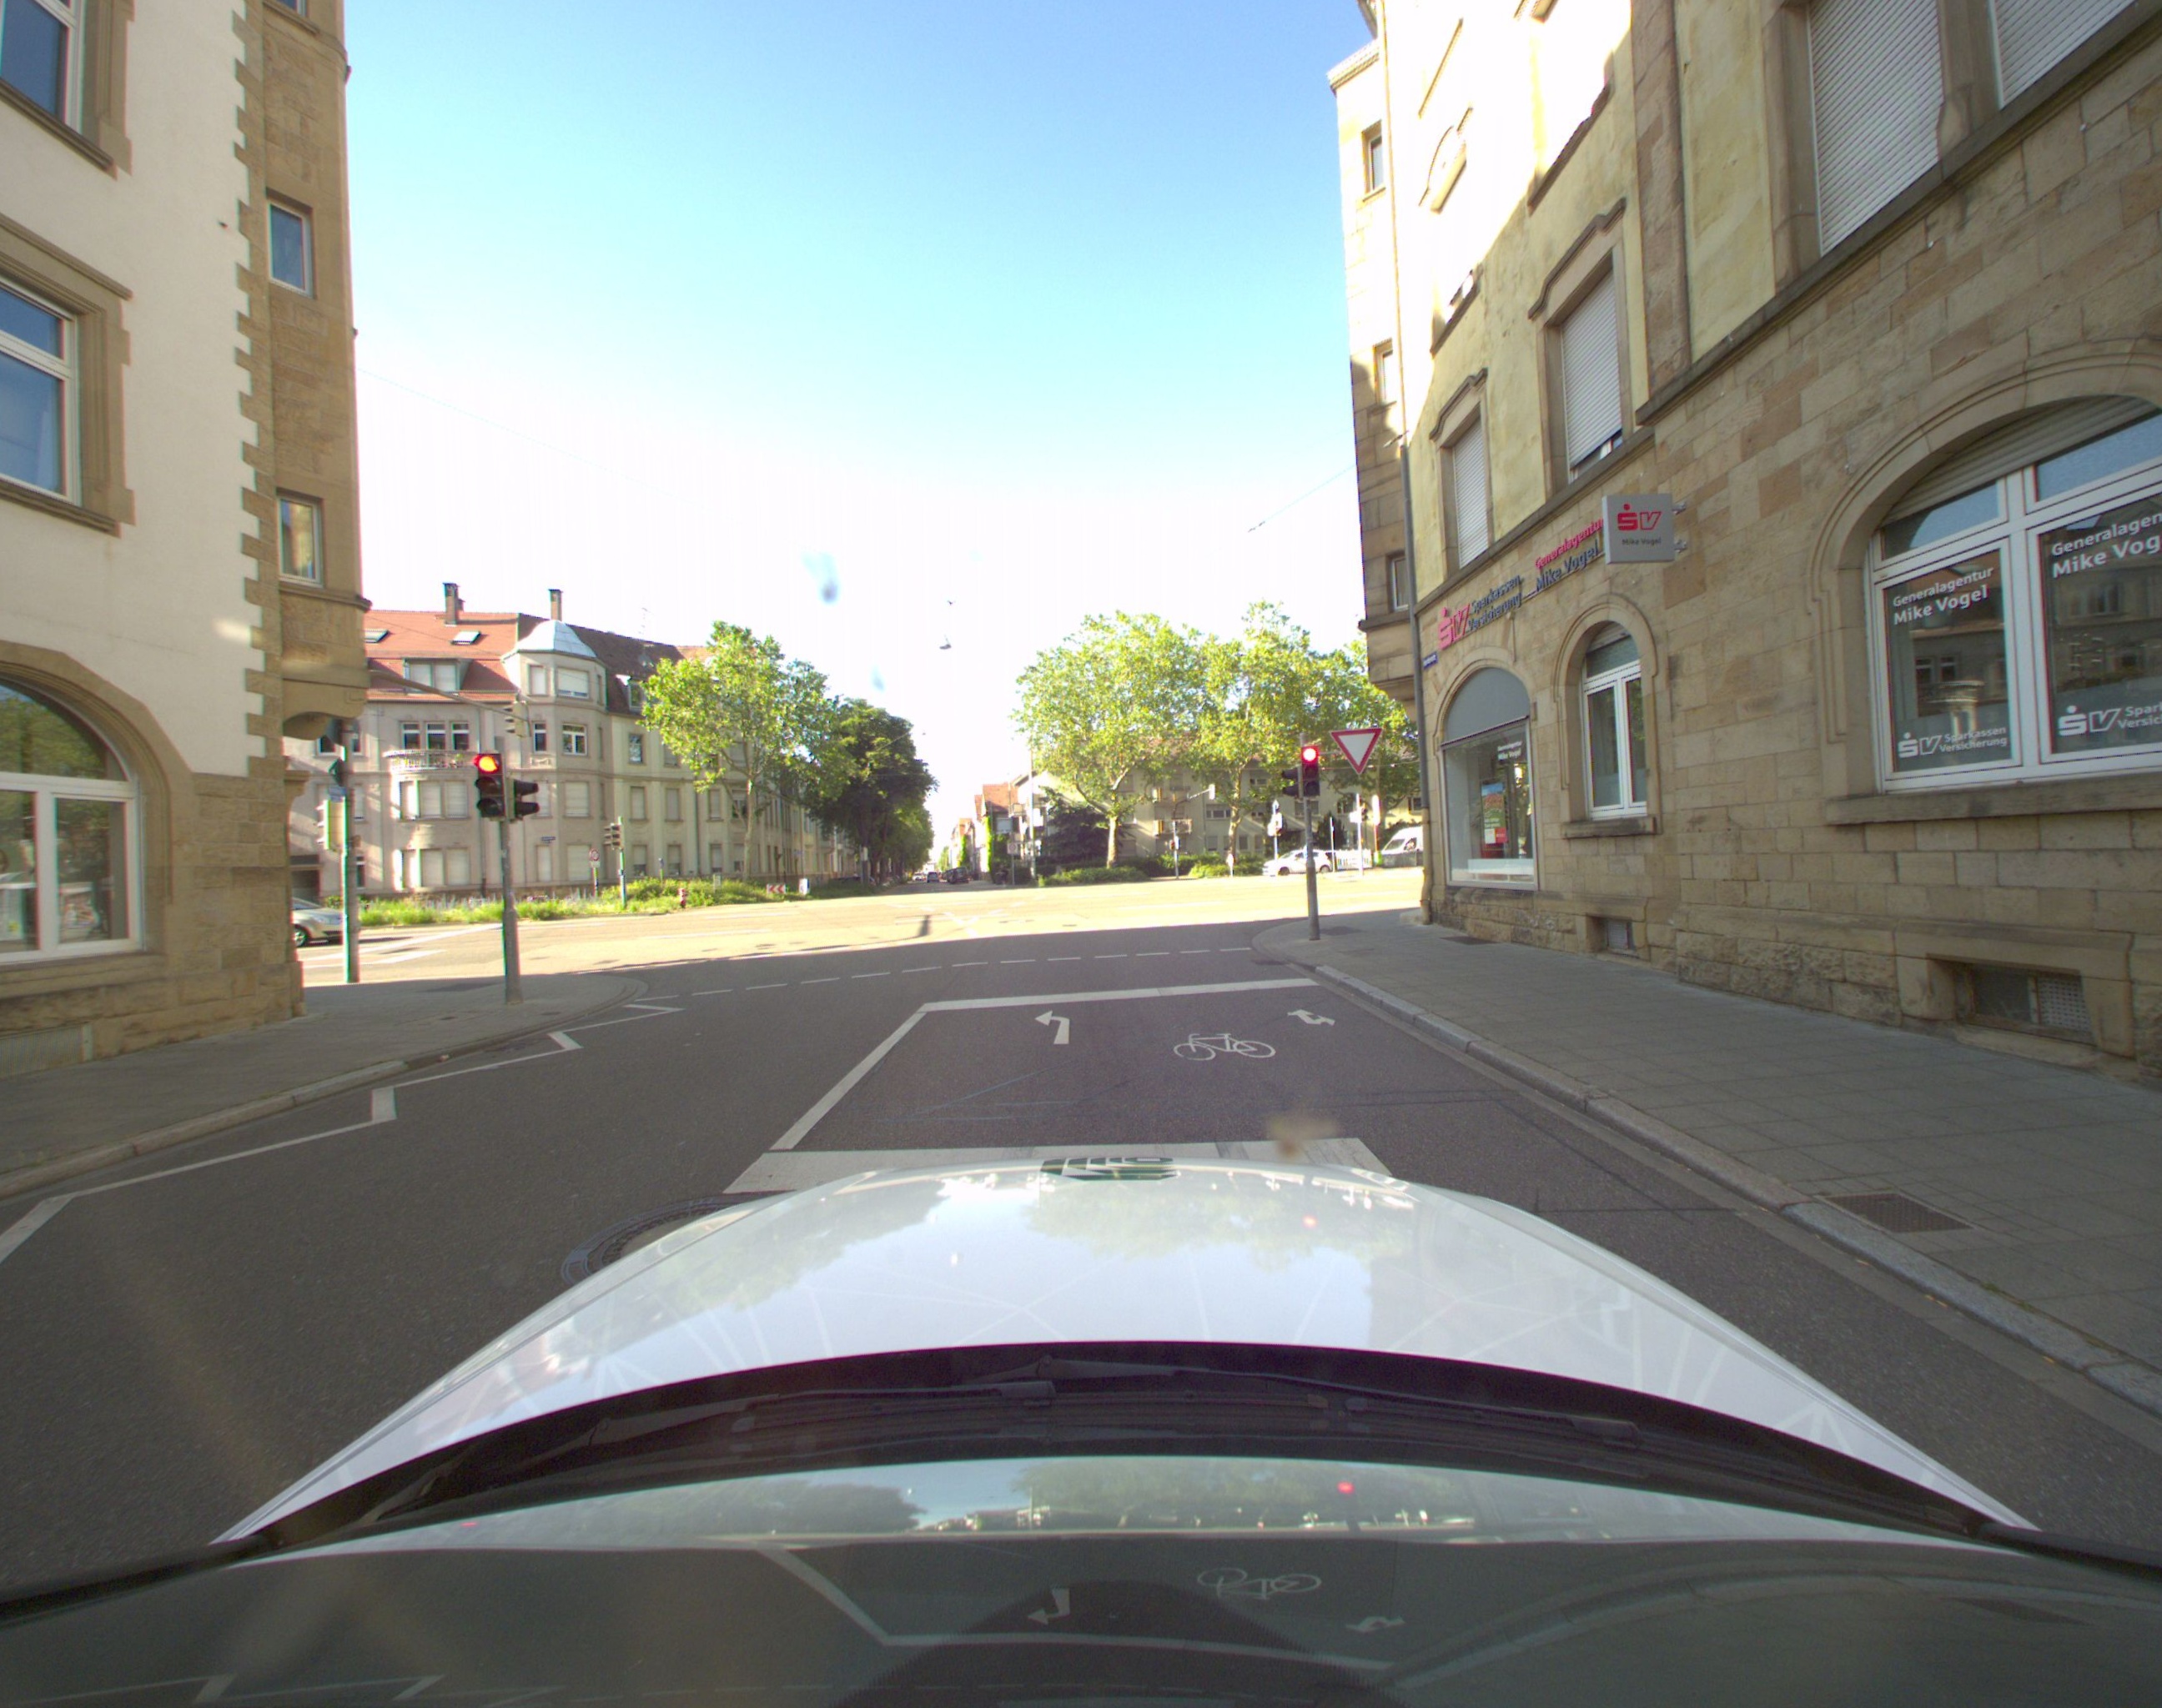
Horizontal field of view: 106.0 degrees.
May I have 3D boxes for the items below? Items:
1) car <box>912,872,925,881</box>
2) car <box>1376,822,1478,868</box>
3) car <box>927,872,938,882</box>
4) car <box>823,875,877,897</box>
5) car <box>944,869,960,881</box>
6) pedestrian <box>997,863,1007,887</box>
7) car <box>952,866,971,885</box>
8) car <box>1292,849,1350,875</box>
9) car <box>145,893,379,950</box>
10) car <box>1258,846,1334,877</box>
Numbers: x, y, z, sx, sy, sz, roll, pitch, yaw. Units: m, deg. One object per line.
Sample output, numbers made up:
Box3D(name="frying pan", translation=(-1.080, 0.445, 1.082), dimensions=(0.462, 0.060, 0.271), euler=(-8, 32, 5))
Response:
Box3D(name="car", translation=(-27.401, 3.769, 137.207), dimensions=(1.995, 1.445, 3.983), euler=(-3, 0, -12))
Box3D(name="car", translation=(22.014, -0.568, 51.842), dimensions=(6.054, 2.568, 1.989), euler=(-3, 0, -17))
Box3D(name="car", translation=(-23.254, 3.546, 127.494), dimensions=(1.675, 1.483, 3.506), euler=(-1, -1, -13))
Box3D(name="car", translation=(-18.261, 2.503, 64.329), dimensions=(3.997, 1.486, 1.672), euler=(-3, 0, -17))
Box3D(name="car", translation=(-20.009, 3.247, 126.235), dimensions=(1.996, 1.833, 3.980), euler=(-1, -1, -14))
Box3D(name="pedestrian", translation=(-5.879, 1.572, 60.655), dimensions=(0.631, 1.750, 0.658), euler=(-2, -1, -2))
Box3D(name="car", translation=(-13.908, 2.488, 95.041), dimensions=(1.992, 2.013, 3.989), euler=(-3, 0, -8))
Box3D(name="car", translation=(15.720, 0.542, 53.319), dimensions=(3.391, 1.487, 1.515), euler=(-3, 0, -20))
Box3D(name="car", translation=(-21.723, 1.760, 21.807), dimensions=(3.995, 1.319, 1.812), euler=(0, -1, -16))
Box3D(name="car", translation=(12.113, 0.415, 46.034), dimensions=(3.788, 1.472, 1.624), euler=(-3, 0, -11))
